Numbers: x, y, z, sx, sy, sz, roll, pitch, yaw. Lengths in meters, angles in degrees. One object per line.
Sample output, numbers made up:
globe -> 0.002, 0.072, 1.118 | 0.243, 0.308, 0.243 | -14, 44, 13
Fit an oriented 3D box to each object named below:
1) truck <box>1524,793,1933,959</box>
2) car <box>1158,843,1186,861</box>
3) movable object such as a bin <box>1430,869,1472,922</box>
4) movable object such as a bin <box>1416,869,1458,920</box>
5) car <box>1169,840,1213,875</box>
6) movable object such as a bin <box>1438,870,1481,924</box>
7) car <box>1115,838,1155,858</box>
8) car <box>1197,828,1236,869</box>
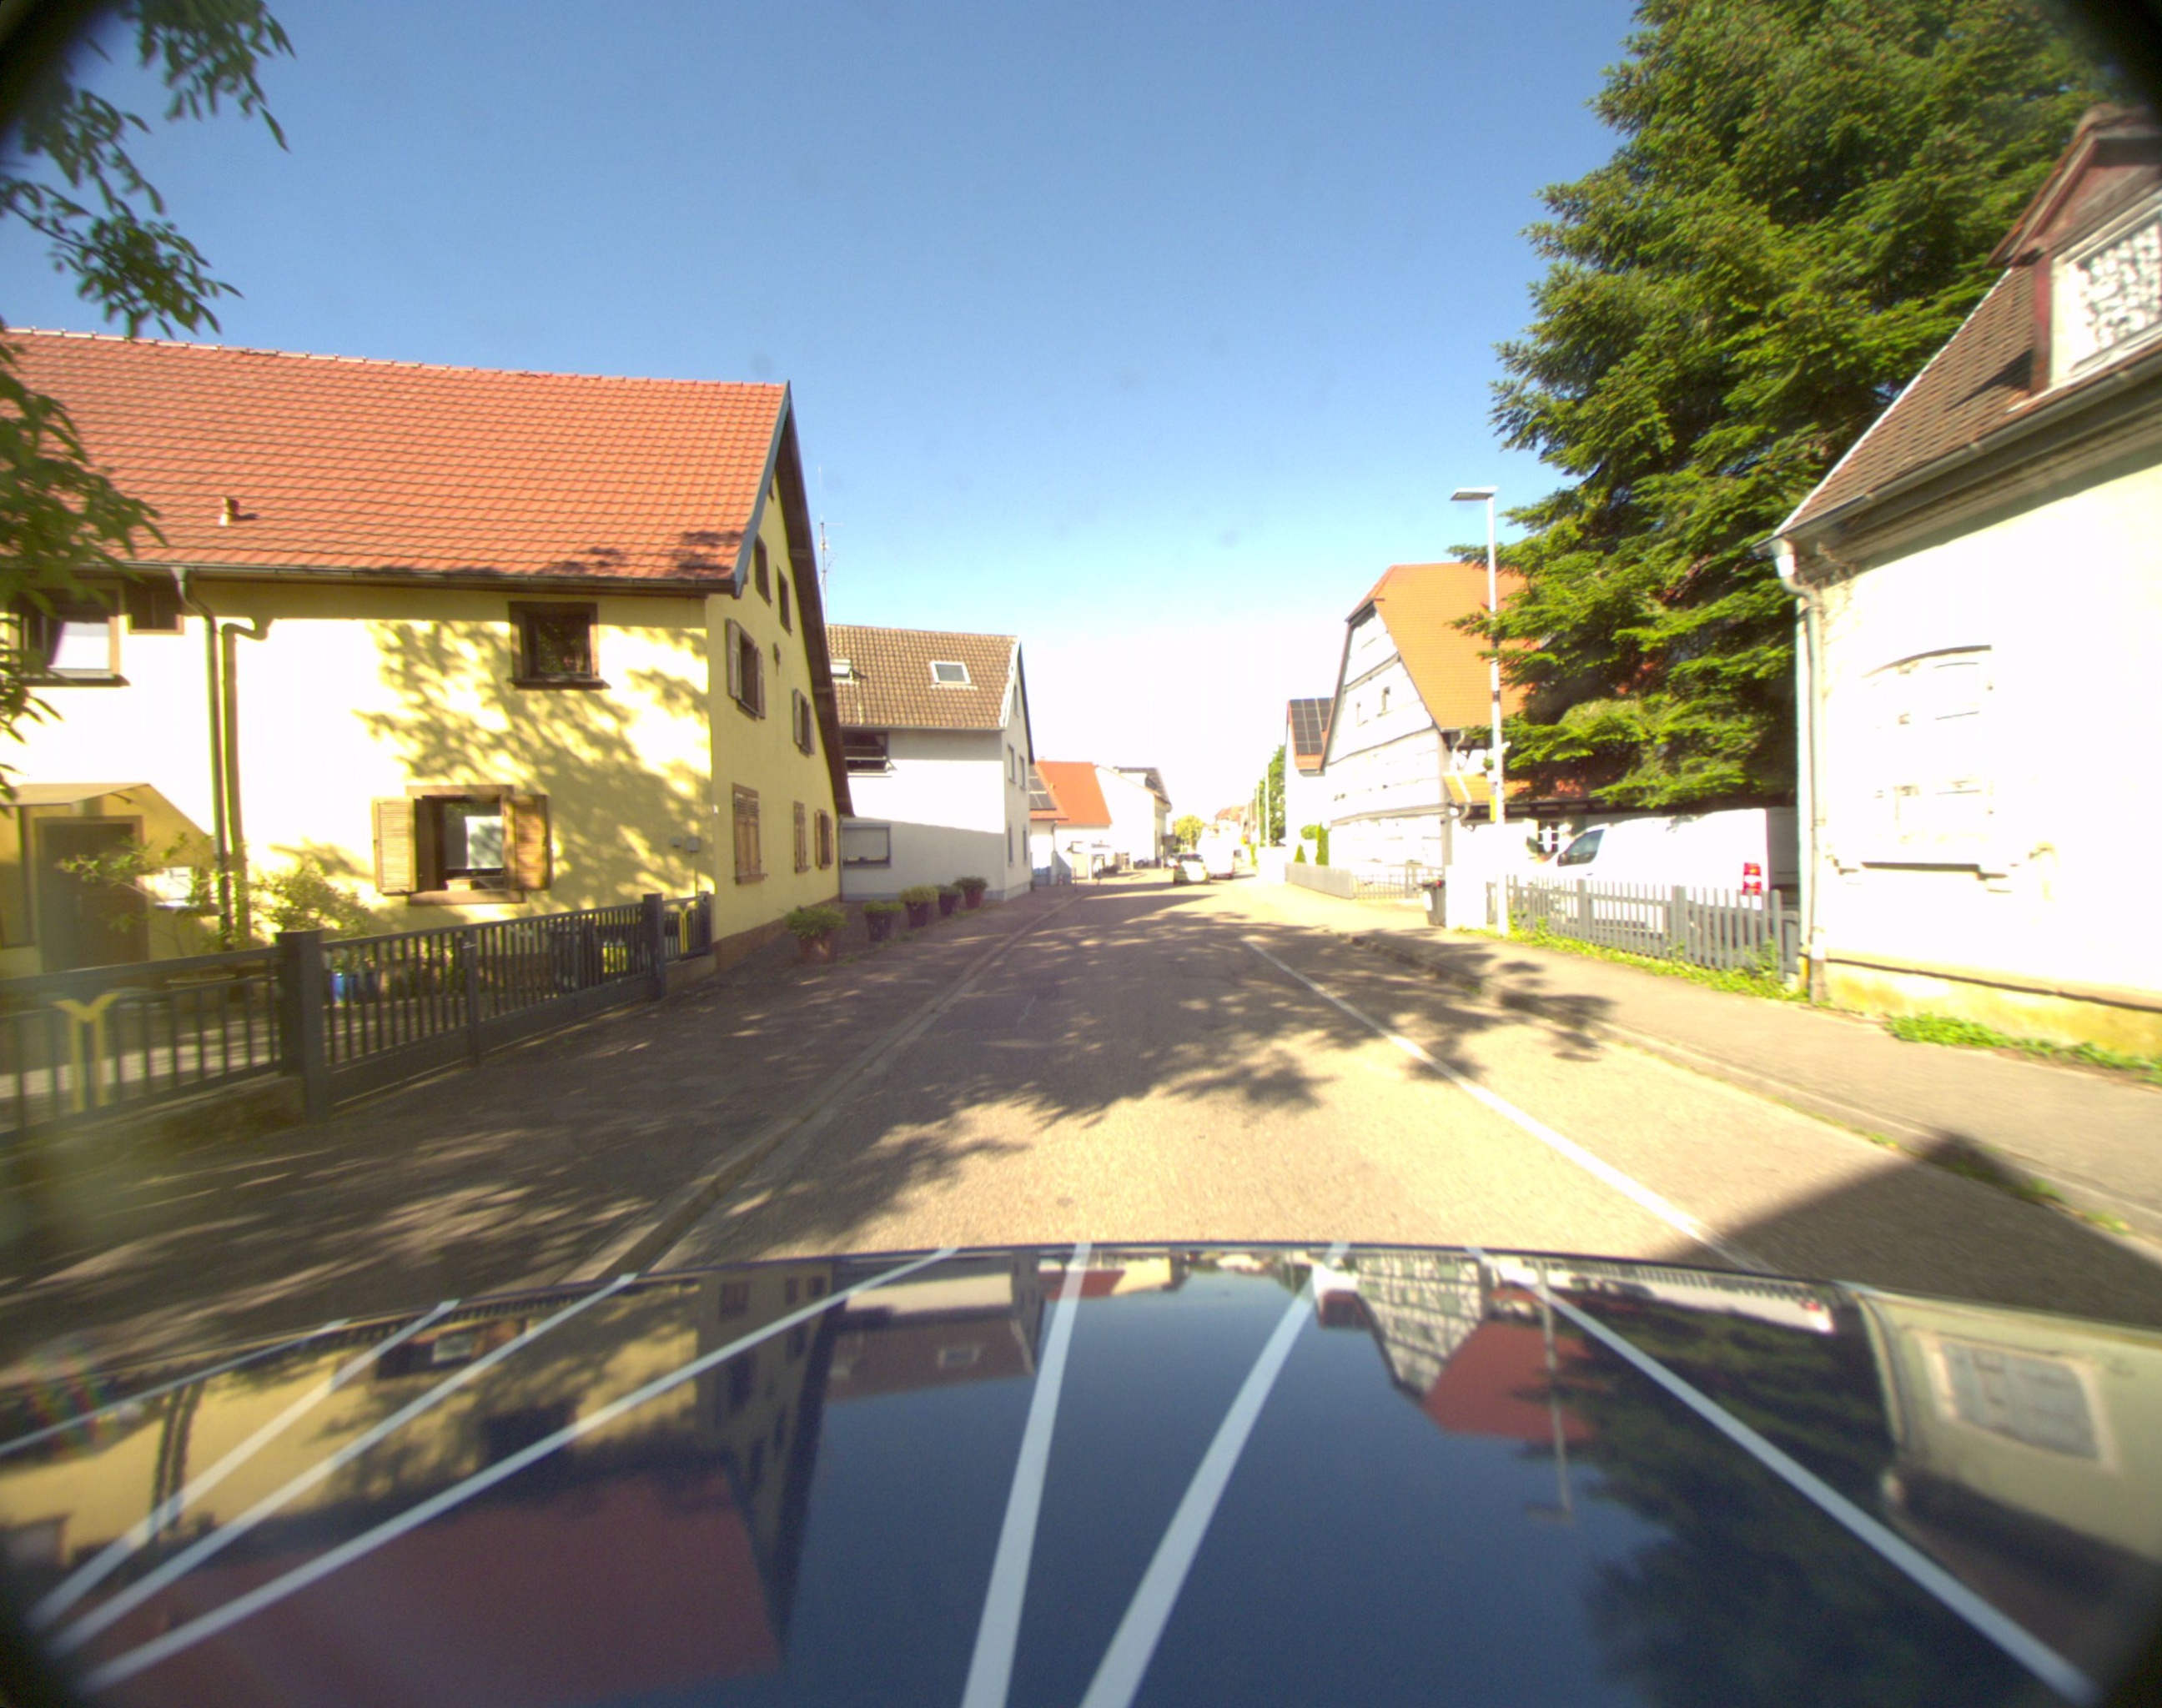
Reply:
truck -> 8.767, 0.270, 11.052 | 1.998, 1.838, 4.753 | -2, 0, 2
car -> 7.908, -0.162, 65.728 | 1.805, 1.469, 4.348 | -1, 0, 15
movable object such as a bin -> 6.880, 0.769, 14.141 | 0.525, 0.942, 0.430 | -2, 0, -4
movable object such as a bin -> 6.860, 0.772, 14.659 | 0.525, 0.942, 0.520 | -2, 0, -4
car -> 5.430, 0.169, 37.223 | 1.892, 1.581, 4.004 | 1, 0, 11
movable object such as a bin -> 6.814, 0.769, 13.690 | 0.525, 0.942, 0.430 | -2, 0, -4
car -> 5.587, -0.609, 78.408 | 3.995, 2.002, 1.842 | 0, 0, 5
car -> 7.860, -0.317, 43.929 | 2.058, 2.233, 4.863 | 1, 0, 11
